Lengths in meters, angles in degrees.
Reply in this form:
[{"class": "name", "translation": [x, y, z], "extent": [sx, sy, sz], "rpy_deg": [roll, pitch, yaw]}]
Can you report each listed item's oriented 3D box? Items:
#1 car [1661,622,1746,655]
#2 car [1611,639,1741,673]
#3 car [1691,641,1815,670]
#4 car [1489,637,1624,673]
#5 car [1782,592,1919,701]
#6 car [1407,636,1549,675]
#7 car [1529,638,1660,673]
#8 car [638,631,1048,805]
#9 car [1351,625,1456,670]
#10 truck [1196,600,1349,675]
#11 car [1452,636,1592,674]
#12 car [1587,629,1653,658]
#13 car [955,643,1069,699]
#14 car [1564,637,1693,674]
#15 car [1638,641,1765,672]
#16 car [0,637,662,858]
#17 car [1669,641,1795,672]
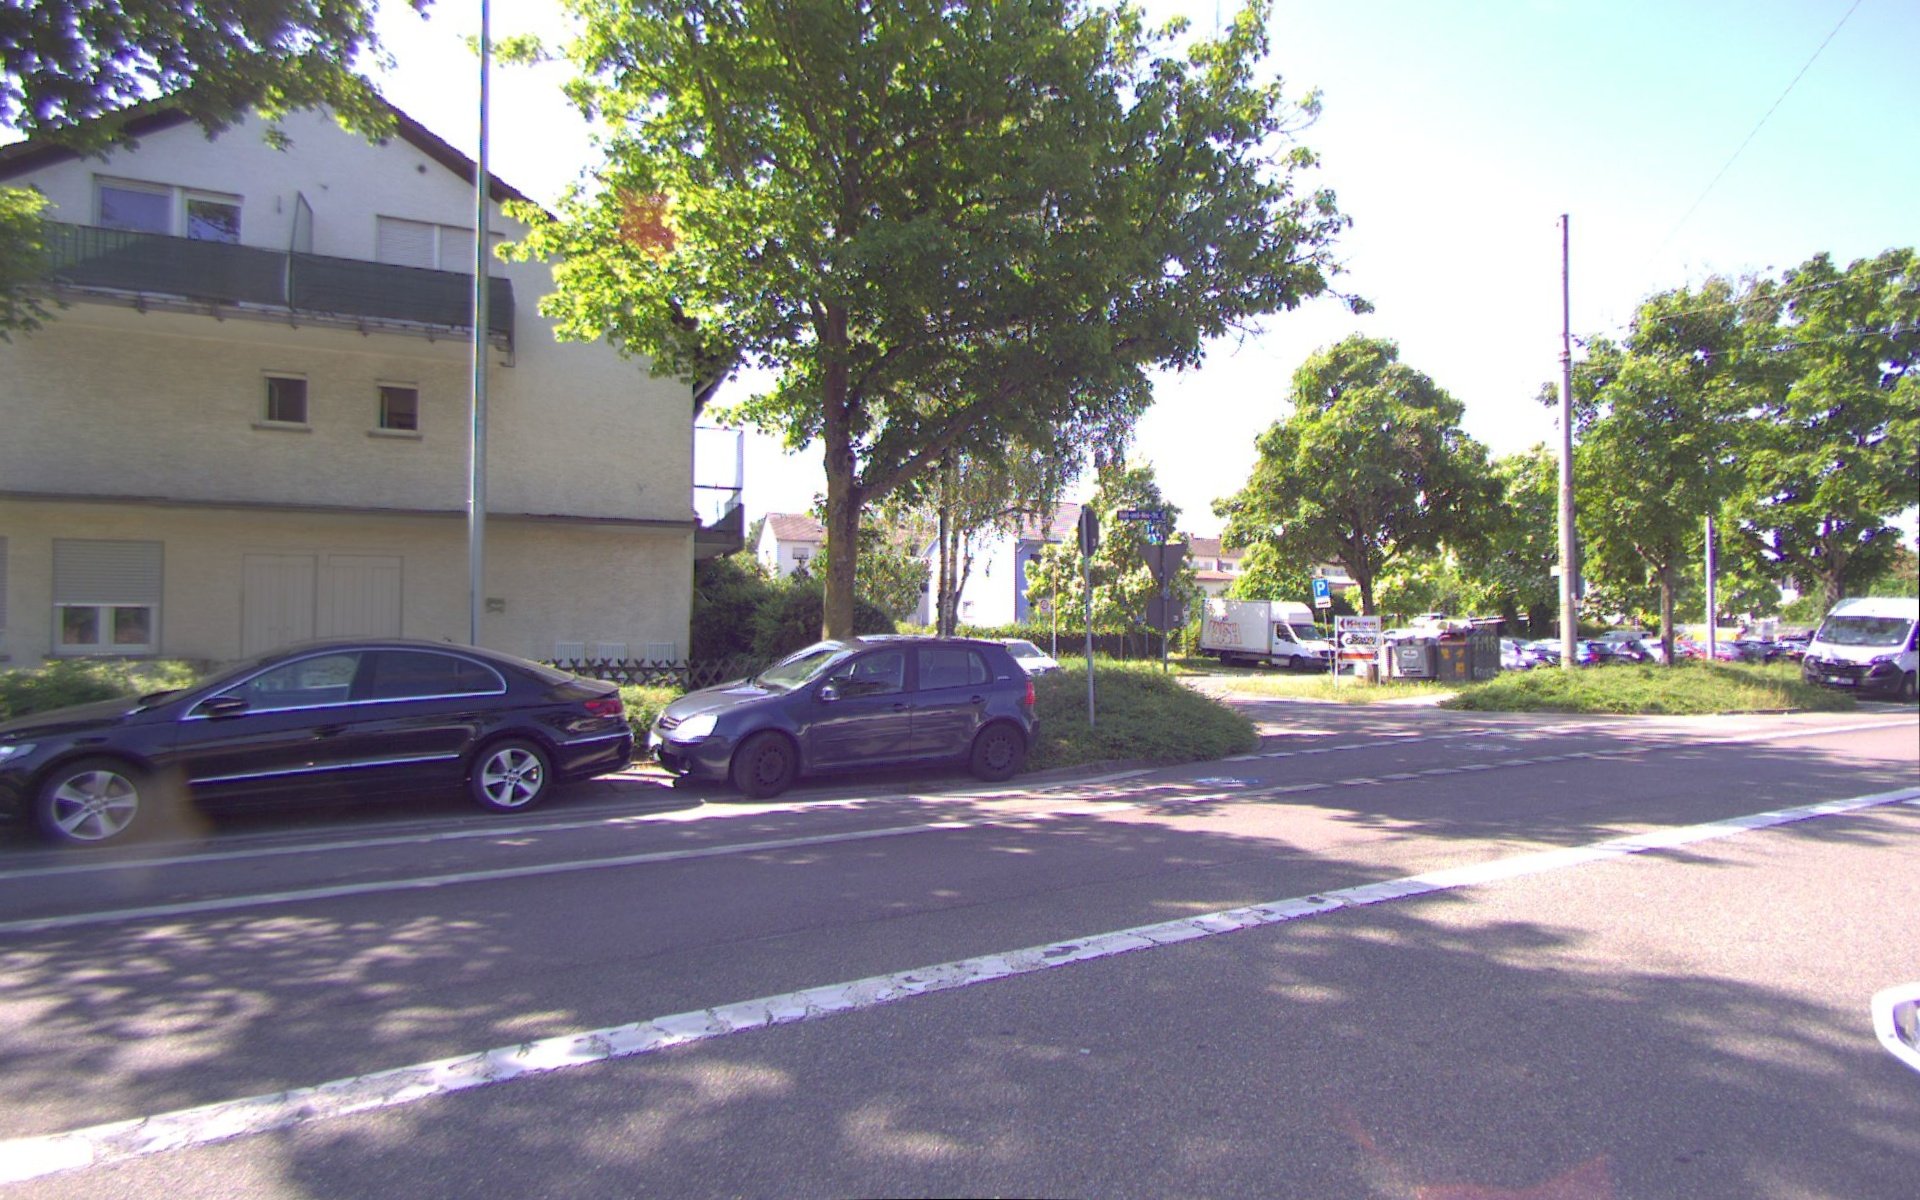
[{"class": "car", "translation": [50.744, 2.622, 68.606], "extent": [1.980, 2.040, 4.228], "rpy_deg": [2, 0, -35]}, {"class": "car", "translation": [29.081, 2.251, 40.900], "extent": [1.748, 1.281, 3.973], "rpy_deg": [1, -2, -27]}, {"class": "car", "translation": [35.365, 2.446, 44.900], "extent": [1.748, 1.241, 3.973], "rpy_deg": [1, -2, -27]}, {"class": "car", "translation": [21.889, 1.979, 36.999], "extent": [1.748, 1.241, 3.973], "rpy_deg": [1, -2, -27]}, {"class": "car", "translation": [24.014, 1.139, 25.905], "extent": [6.227, 2.534, 2.050], "rpy_deg": [1, 1, -28]}, {"class": "car", "translation": [17.507, 1.846, 34.131], "extent": [1.751, 1.241, 3.967], "rpy_deg": [1, -2, -31]}, {"class": "car", "translation": [24.463, 2.110, 38.896], "extent": [1.748, 1.241, 3.973], "rpy_deg": [1, -2, -27]}, {"class": "car", "translation": [-1.174, 1.113, 10.562], "extent": [3.956, 1.470, 1.634], "rpy_deg": [2, 0, -29]}, {"class": "car", "translation": [22.929, 2.427, 52.091], "extent": [1.980, 2.040, 4.663], "rpy_deg": [2, 0, -34]}, {"class": "truck", "translation": [14.382, 1.617, 46.803], "extent": [2.206, 3.059, 7.103], "rpy_deg": [1, 1, -31]}, {"class": "car", "translation": [19.692, 1.900, 35.369], "extent": [1.751, 1.241, 3.967], "rpy_deg": [1, -2, -31]}, {"class": "car", "translation": [45.023, 2.967, 68.568], "extent": [1.535, 1.901, 3.406], "rpy_deg": [1, -2, -31]}, {"class": "car", "translation": [1.385, 1.957, 28.556], "extent": [1.687, 1.437, 3.979], "rpy_deg": [1, -2, -23]}, {"class": "car", "translation": [26.702, 2.185, 40.275], "extent": [1.748, 1.368, 3.973], "rpy_deg": [1, -2, -27]}, {"class": "car", "translation": [31.180, 2.347, 42.354], "extent": [1.748, 1.241, 3.973], "rpy_deg": [1, -2, -27]}, {"class": "car", "translation": [-5.094, 1.044, 8.399], "extent": [4.727, 1.398, 1.682], "rpy_deg": [1, 0, -31]}, {"class": "car", "translation": [33.468, 2.440, 43.660], "extent": [1.748, 1.241, 3.973], "rpy_deg": [1, -2, -27]}]
